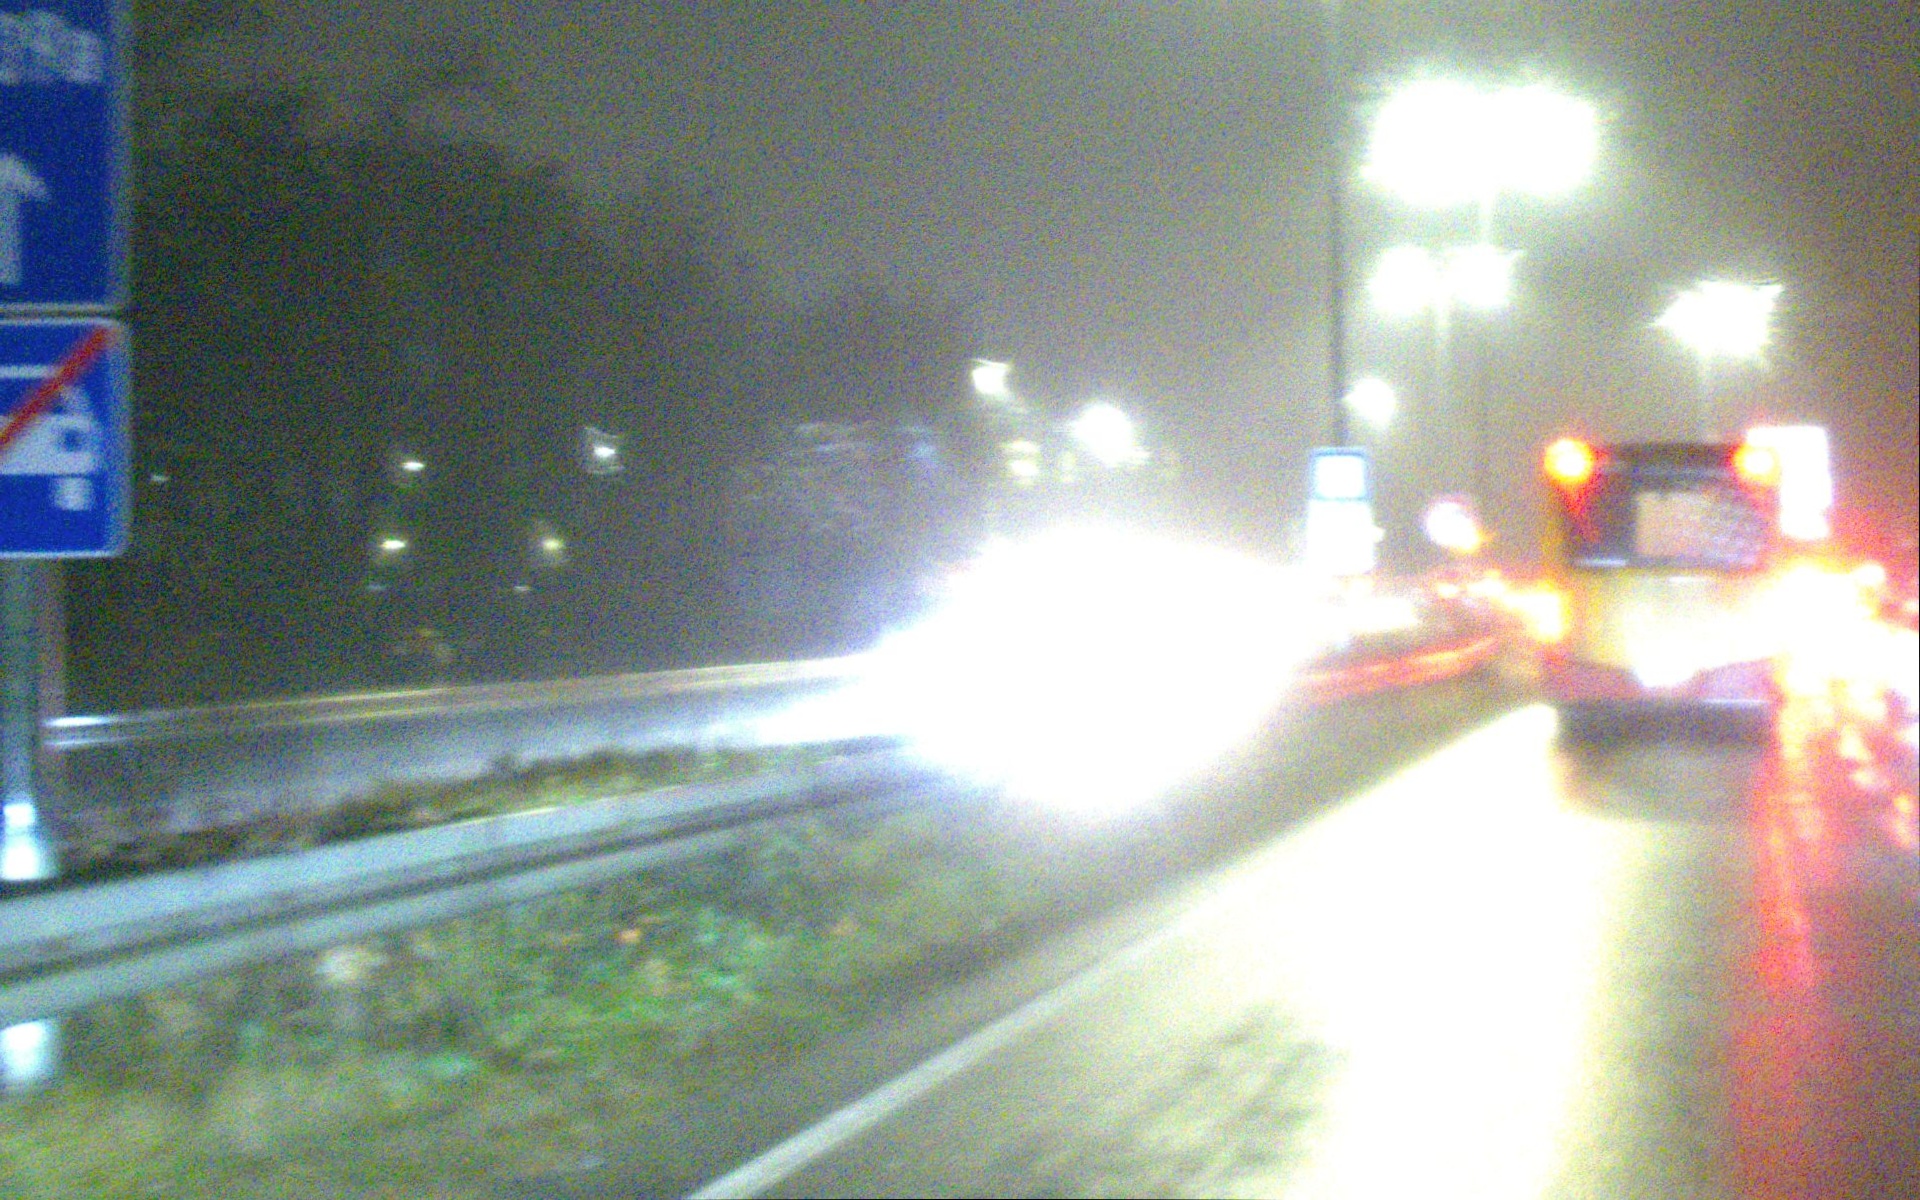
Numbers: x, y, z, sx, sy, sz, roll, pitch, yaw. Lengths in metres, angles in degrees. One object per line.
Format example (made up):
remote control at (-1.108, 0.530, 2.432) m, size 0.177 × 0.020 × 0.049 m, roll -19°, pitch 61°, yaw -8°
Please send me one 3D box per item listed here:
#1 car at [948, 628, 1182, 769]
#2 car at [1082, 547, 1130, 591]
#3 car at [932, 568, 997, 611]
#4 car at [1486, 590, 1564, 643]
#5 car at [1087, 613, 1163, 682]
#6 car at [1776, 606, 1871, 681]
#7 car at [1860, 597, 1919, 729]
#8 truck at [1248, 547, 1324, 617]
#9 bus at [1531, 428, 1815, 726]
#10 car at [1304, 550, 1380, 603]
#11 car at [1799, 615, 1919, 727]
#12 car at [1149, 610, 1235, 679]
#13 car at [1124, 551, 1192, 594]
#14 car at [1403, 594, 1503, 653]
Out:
car at (1.304, 1.108, 40.180) m, size 1.857 × 1.471 × 4.776 m, roll -1°, pitch 0°, yaw 13°
car at (6.957, -1.467, 164.285) m, size 2.121 × 2.007 × 4.000 m, roll 1°, pitch 0°, yaw 0°
car at (0.207, -0.499, 167.227) m, size 1.993 × 2.007 × 4.001 m, roll 1°, pitch 0°, yaw -18°
car at (18.034, 0.529, 109.826) m, size 1.751 × 1.625 × 3.623 m, roll 1°, pitch 0°, yaw -2°
car at (5.020, 1.430, 104.421) m, size 1.994 × 2.007 × 3.999 m, roll 1°, pitch 0°, yaw 7°
car at (18.684, 0.912, 74.496) m, size 1.780 × 1.538 × 3.873 m, roll 1°, pitch 0°, yaw 11°
car at (12.580, 0.761, 43.811) m, size 1.820 × 1.585 × 3.775 m, roll -1°, pitch 0°, yaw 10°
truck at (12.292, -0.690, 130.035) m, size 1.855 × 2.385 × 4.780 m, roll -2°, pitch 3°, yaw -7°
bus at (8.104, -0.264, 39.308) m, size 2.817 × 3.014 × 8.683 m, roll 0°, pitch 0°, yaw 11°
car at (14.900, -0.918, 134.216) m, size 1.993 × 2.007 × 4.001 m, roll 1°, pitch 0°, yaw -8°
car at (13.753, 1.043, 51.953) m, size 1.820 × 1.585 × 3.775 m, roll -1°, pitch 0°, yaw 10°
car at (5.810, 1.089, 85.684) m, size 1.621 × 1.645 × 3.998 m, roll -2°, pitch 0°, yaw 11°
car at (8.544, -1.204, 148.675) m, size 1.993 × 1.680 × 4.001 m, roll 2°, pitch 2°, yaw -10°
car at (17.174, 0.798, 119.939) m, size 2.210 × 2.007 × 4.001 m, roll -1°, pitch 0°, yaw -11°
